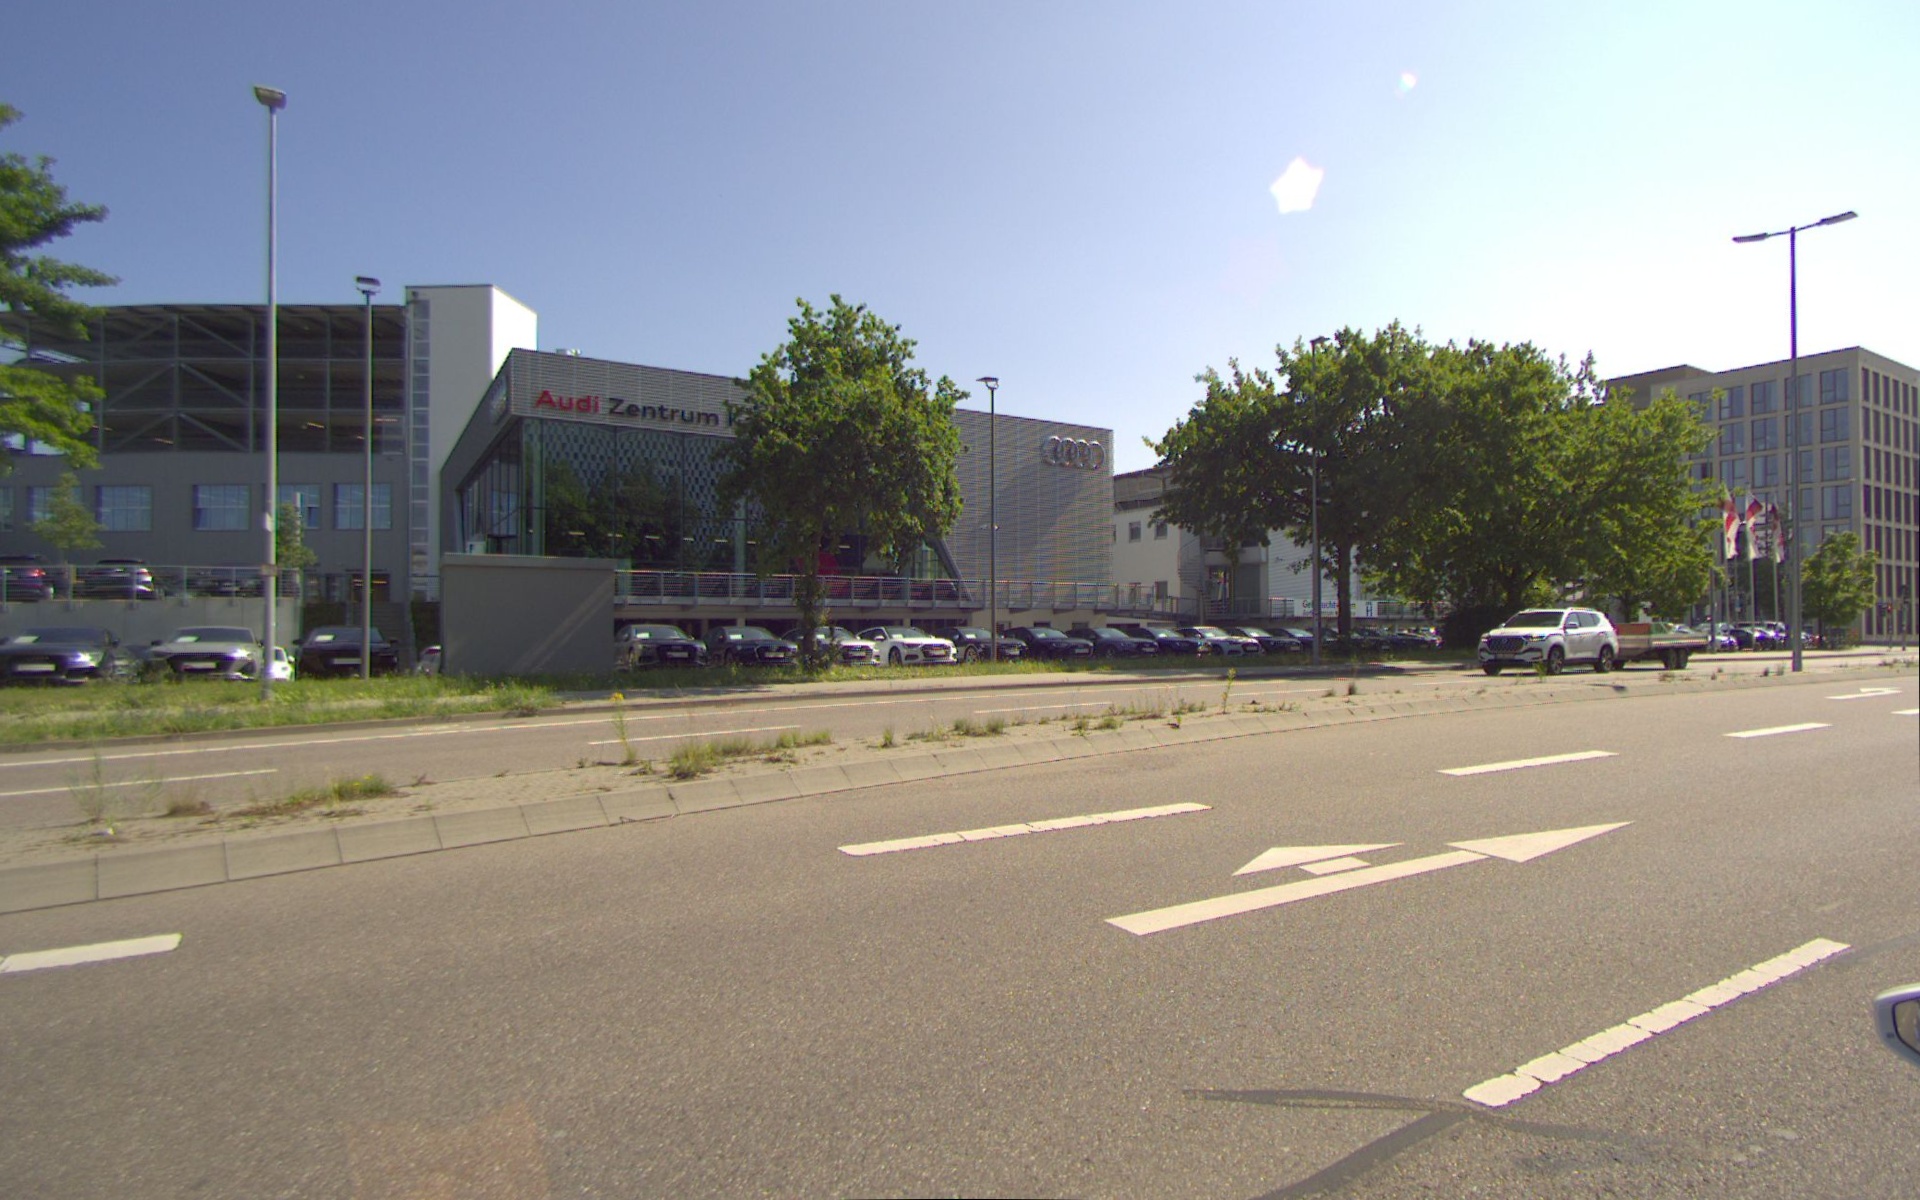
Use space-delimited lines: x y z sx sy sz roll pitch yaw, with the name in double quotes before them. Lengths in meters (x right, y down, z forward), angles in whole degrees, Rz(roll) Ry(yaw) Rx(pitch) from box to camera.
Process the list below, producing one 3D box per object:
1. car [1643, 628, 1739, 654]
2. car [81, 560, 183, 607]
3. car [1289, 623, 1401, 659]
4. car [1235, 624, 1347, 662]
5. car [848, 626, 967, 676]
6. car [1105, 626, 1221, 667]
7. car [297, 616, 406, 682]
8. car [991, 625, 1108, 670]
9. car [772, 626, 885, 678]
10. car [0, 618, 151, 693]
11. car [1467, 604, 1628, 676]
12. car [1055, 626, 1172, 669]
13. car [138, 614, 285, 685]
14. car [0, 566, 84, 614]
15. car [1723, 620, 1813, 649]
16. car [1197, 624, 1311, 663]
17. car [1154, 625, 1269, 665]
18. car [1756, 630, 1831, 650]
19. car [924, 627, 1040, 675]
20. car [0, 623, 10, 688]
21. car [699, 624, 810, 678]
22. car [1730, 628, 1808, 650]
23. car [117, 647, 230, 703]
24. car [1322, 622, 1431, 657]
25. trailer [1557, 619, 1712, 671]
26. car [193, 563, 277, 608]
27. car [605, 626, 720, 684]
"car" 41.288 2.291 56.790 1.978 1.361 3.966 1 -2 -32
"car" -27.643 -0.493 33.662 1.931 1.368 4.246 1 -2 -30
"car" 15.706 1.669 41.172 1.902 1.394 3.967 1 -2 -31
"car" 12.992 1.663 39.632 1.902 1.394 3.967 1 -2 -31
"car" -1.658 1.500 30.588 2.002 1.394 4.022 1 -2 -31
"car" 7.160 1.616 35.723 1.902 1.394 3.967 1 -2 -31
"car" -13.862 1.073 23.095 1.930 1.368 4.248 1 -2 -29
"car" 2.883 1.535 33.224 1.902 1.394 3.967 1 -2 -31
"car" -3.884 1.455 29.131 1.844 1.394 3.967 1 -2 -31
"car" -18.105 1.071 20.345 1.930 1.368 4.248 1 -2 -29
"car" 16.449 1.099 28.047 4.886 1.857 1.982 1 -2 -34
"car" 5.200 1.593 34.522 1.902 1.394 3.967 1 -2 -31
"car" -15.953 1.006 21.648 1.930 1.368 4.248 1 -2 -29
"car" -29.569 -0.285 31.827 1.931 1.368 4.246 1 -2 -30
"car" 60.391 2.565 75.181 1.976 2.077 4.892 1 -2 -30
"car" 11.147 1.643 38.342 1.902 1.394 3.967 1 -2 -31
"car" 9.197 1.623 37.002 1.902 1.394 3.967 1 -2 -31
"car" 63.428 3.029 76.515 1.976 1.483 3.969 1 -2 -30
"car" 0.628 1.572 31.771 1.902 1.394 3.967 1 -2 -31
"car" -20.101 1.110 19.069 1.930 1.368 4.248 1 -2 -29
"car" -5.794 1.373 27.978 1.844 1.394 3.967 1 -2 -31
"car" 50.337 2.415 62.558 1.625 1.361 3.398 1 -2 -29
"car" -22.325 2.070 28.693 1.931 1.368 4.246 1 -2 -30
"car" 17.638 1.660 42.691 1.902 1.394 3.967 1 -2 -31
"trailer" 20.903 1.345 31.063 5.712 1.472 1.982 1 -2 -34
"car" -25.286 -0.451 35.158 1.931 1.368 4.246 1 -2 -30
"car" -7.875 1.396 26.370 1.977 1.394 3.967 1 -2 -31
